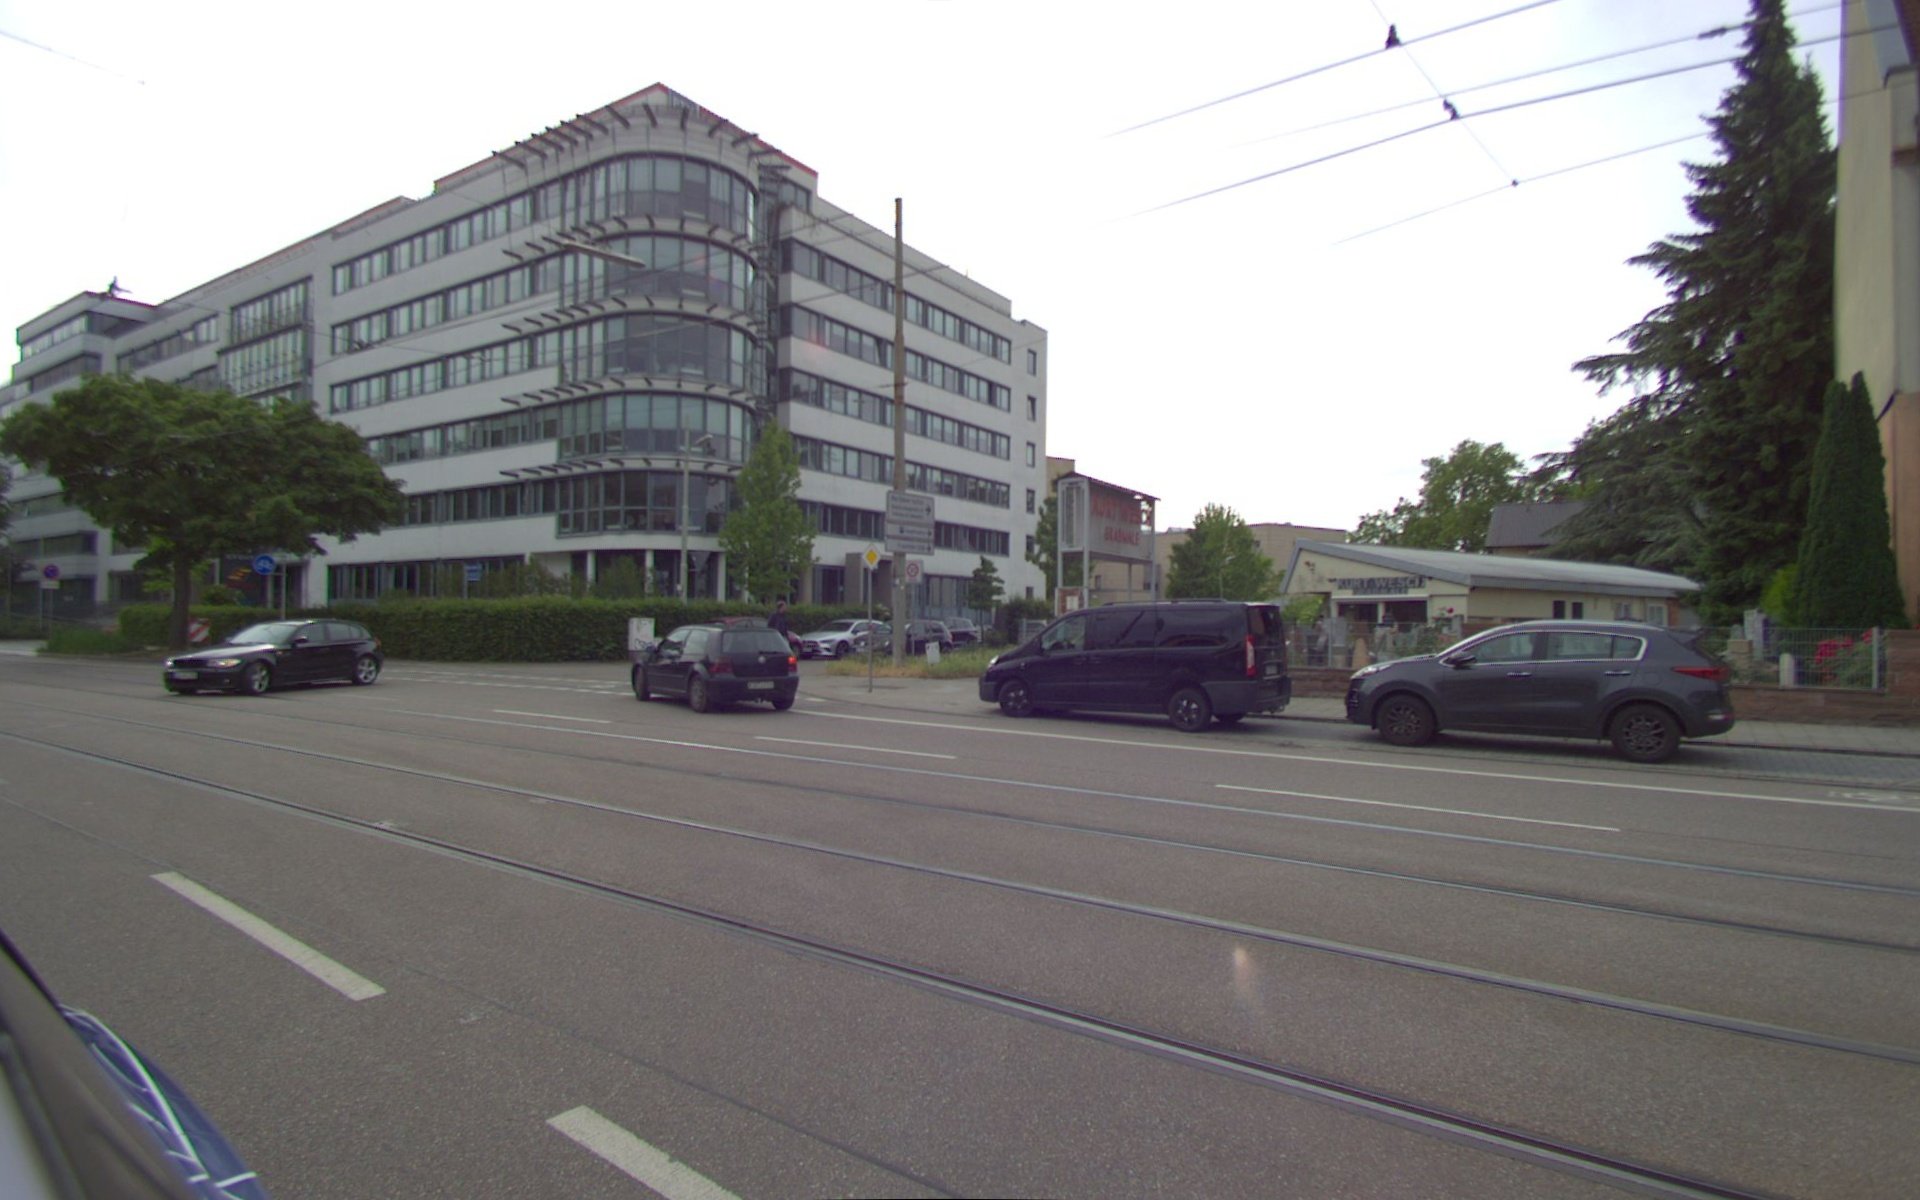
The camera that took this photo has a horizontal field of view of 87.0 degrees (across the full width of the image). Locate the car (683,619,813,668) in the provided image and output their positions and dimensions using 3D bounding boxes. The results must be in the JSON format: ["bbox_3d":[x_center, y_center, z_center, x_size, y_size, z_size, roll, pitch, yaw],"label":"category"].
[{"bbox_3d":[-6.699,1.372,32.258,1.721,1.433,3.972,-3,-3,34],"label":"car"}]

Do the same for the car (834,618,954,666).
[{"bbox_3d":[-2.107,1.356,33.306,1.813,1.462,3.937,0,-2,37],"label":"car"}]

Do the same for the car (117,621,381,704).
[{"bbox_3d":[-13.634,1.133,19.733,1.770,1.379,4.095,0,-1,13],"label":"car"}]

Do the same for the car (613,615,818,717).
[{"bbox_3d":[-4.341,1.088,17.519,1.767,1.542,4.148,4,-4,-39],"label":"car"}]

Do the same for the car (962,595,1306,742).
[{"bbox_3d":[2.694,0.958,16.393,5.175,2.029,1.969,0,0,36],"label":"car"}]

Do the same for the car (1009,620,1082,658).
[{"bbox_3d":[4.142,1.837,48.536,1.884,1.694,3.792,0,-1,35],"label":"car"}]

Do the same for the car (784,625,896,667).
[{"bbox_3d":[-4.157,1.572,35.639,1.774,1.359,4.003,0,-1,33],"label":"car"}]

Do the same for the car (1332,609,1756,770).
[{"bbox_3d":[7.510,1.043,13.348,4.524,1.762,2.020,-1,0,35],"label":"car"}]

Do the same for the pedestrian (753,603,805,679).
[{"bbox_3d":[-4.504,0.997,25.185,1.058,1.839,0.796,0,-1,38],"label":"pedestrian"}]
